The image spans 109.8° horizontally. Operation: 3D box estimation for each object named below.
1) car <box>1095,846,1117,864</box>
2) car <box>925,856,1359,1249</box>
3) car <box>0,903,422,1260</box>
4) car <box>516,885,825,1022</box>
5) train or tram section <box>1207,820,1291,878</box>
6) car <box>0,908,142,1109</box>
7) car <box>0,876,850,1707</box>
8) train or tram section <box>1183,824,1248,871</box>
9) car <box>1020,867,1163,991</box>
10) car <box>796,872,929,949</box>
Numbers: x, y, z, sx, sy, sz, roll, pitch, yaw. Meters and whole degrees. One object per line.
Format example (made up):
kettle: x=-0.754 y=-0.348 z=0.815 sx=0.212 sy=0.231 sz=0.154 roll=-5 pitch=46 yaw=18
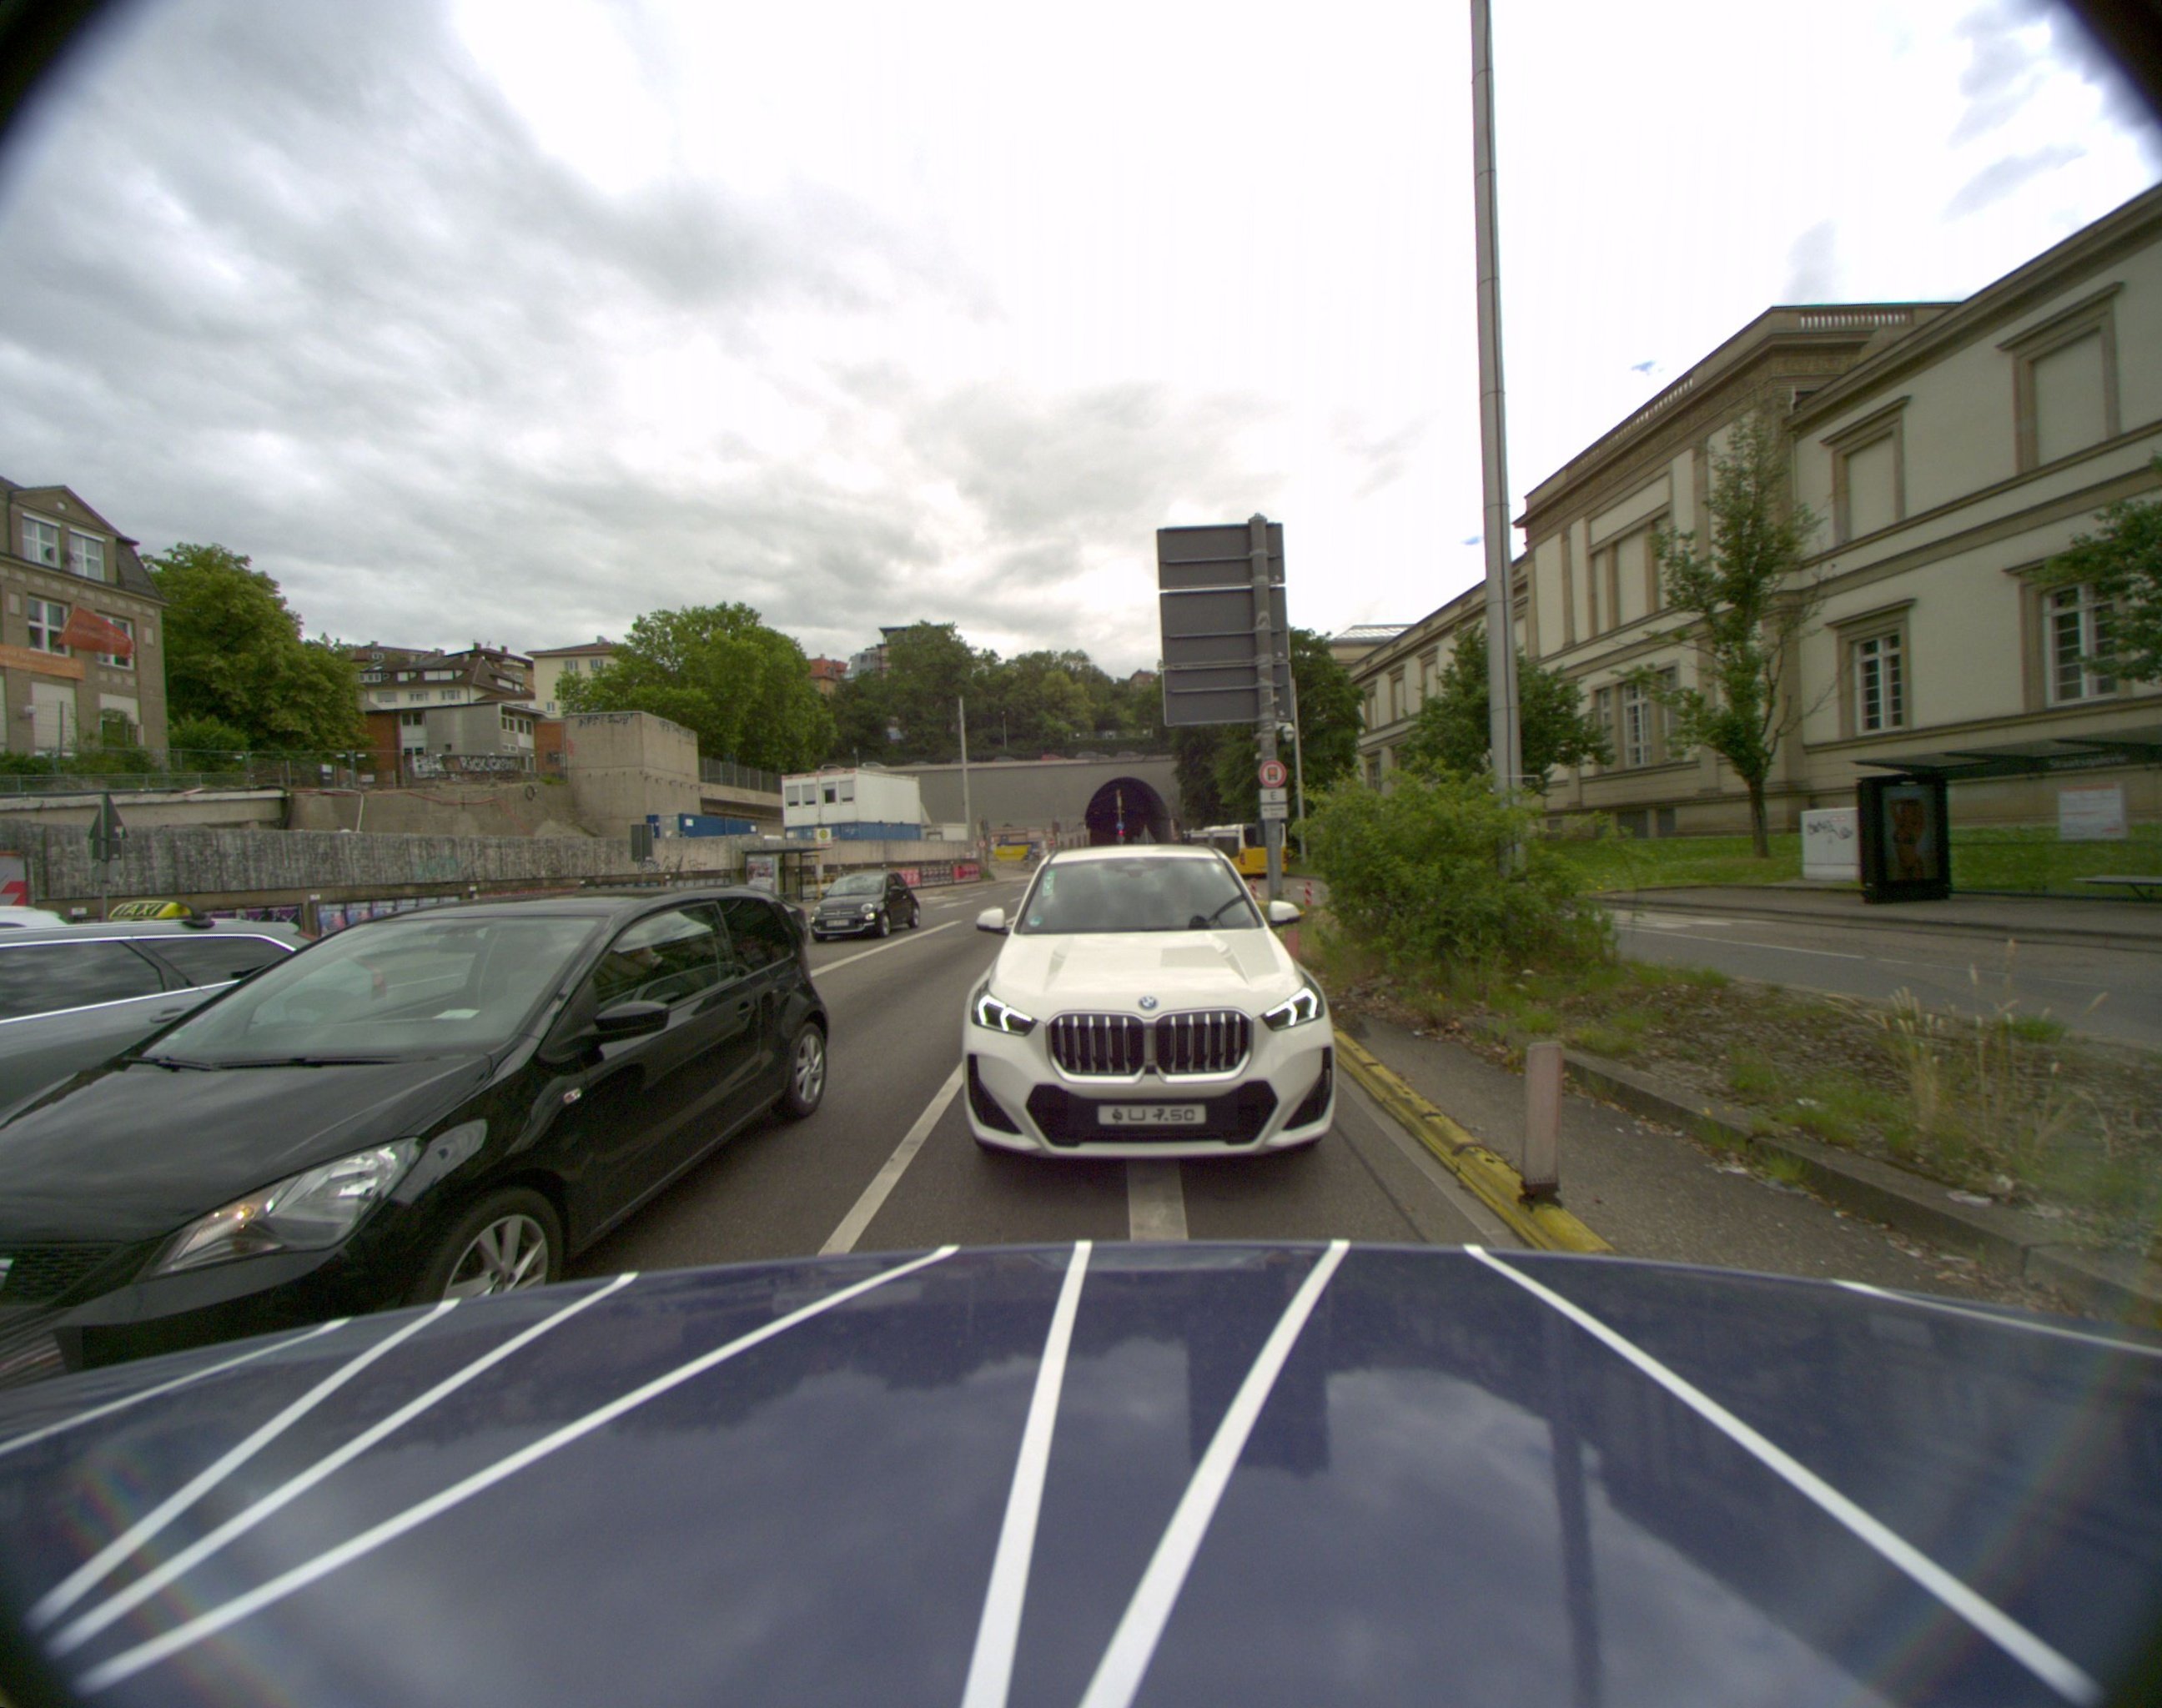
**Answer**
car: x=2.363 y=0.072 z=73.081 sx=1.948 sy=1.565 sz=3.999 roll=-2 pitch=1 yaw=1
car: x=0.338 y=0.849 z=5.132 sx=1.756 sy=1.547 sz=3.911 roll=-2 pitch=1 yaw=3
car: x=-5.825 y=1.143 z=3.463 sx=1.826 sy=1.457 sz=4.217 roll=-2 pitch=1 yaw=2
car: x=-5.402 y=1.226 z=10.769 sx=1.826 sy=1.356 sz=4.219 roll=-2 pitch=0 yaw=4
train or tram section: x=9.751 y=-0.251 z=45.194 sx=2.701 sy=3.053 sz=9.335 roll=-1 pitch=0 yaw=-1
car: x=-9.152 y=1.258 z=4.587 sx=1.826 sy=1.457 sz=4.073 roll=-2 pitch=1 yaw=0
car: x=-2.530 y=0.980 z=3.284 sx=1.661 sy=1.547 sz=3.911 roll=-2 pitch=1 yaw=3
train or tram section: x=9.459 y=-0.410 z=54.534 sx=2.701 sy=3.053 sz=9.374 roll=-1 pitch=0 yaw=-2
car: x=0.219 y=0.991 z=11.608 sx=1.756 sy=1.427 sz=3.911 roll=-2 pitch=0 yaw=3
car: x=-4.972 y=1.226 z=17.835 sx=1.720 sy=1.450 sz=3.782 roll=-3 pitch=0 yaw=4
